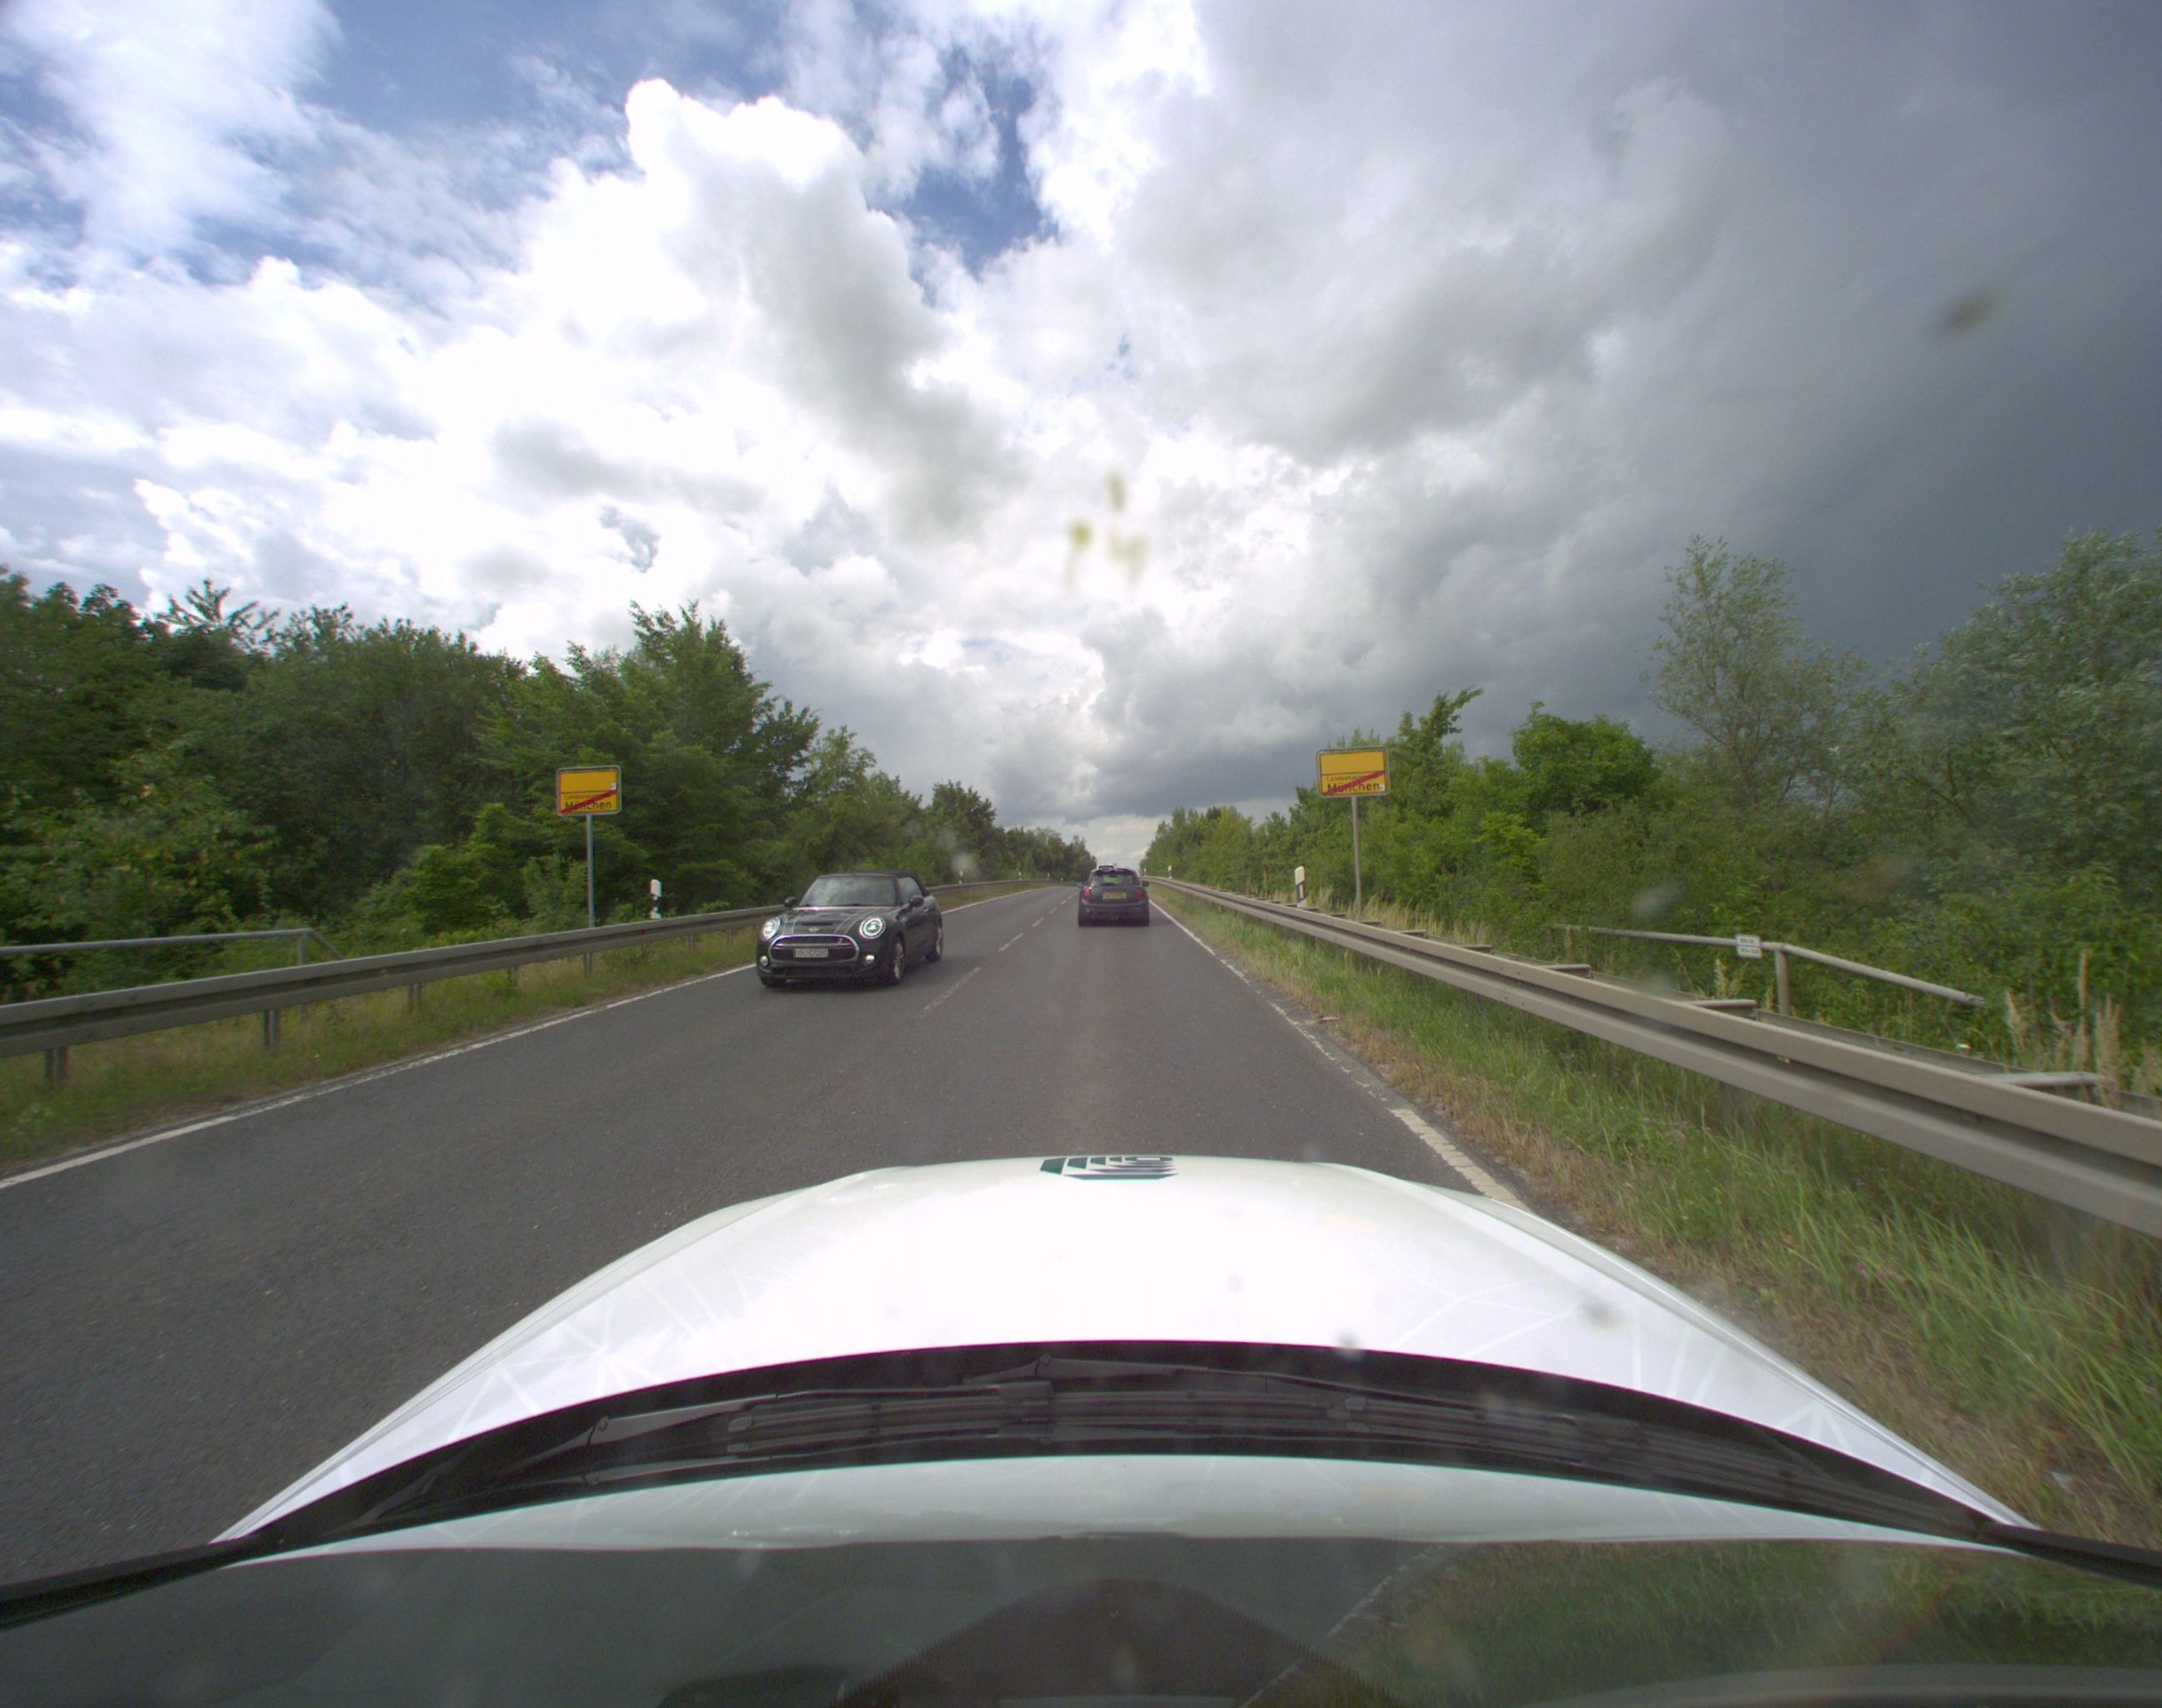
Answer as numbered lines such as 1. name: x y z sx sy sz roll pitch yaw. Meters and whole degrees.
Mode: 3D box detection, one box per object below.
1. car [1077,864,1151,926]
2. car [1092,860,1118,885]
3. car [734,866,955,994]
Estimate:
1. car: 0.901 0.996 21.195 1.724 1.456 4.004 -1 -1 4
2. car: 2.099 1.603 70.266 2.014 2.013 4.003 -2 -1 3
3. car: -3.088 0.919 11.549 1.828 1.420 4.001 -1 0 2
